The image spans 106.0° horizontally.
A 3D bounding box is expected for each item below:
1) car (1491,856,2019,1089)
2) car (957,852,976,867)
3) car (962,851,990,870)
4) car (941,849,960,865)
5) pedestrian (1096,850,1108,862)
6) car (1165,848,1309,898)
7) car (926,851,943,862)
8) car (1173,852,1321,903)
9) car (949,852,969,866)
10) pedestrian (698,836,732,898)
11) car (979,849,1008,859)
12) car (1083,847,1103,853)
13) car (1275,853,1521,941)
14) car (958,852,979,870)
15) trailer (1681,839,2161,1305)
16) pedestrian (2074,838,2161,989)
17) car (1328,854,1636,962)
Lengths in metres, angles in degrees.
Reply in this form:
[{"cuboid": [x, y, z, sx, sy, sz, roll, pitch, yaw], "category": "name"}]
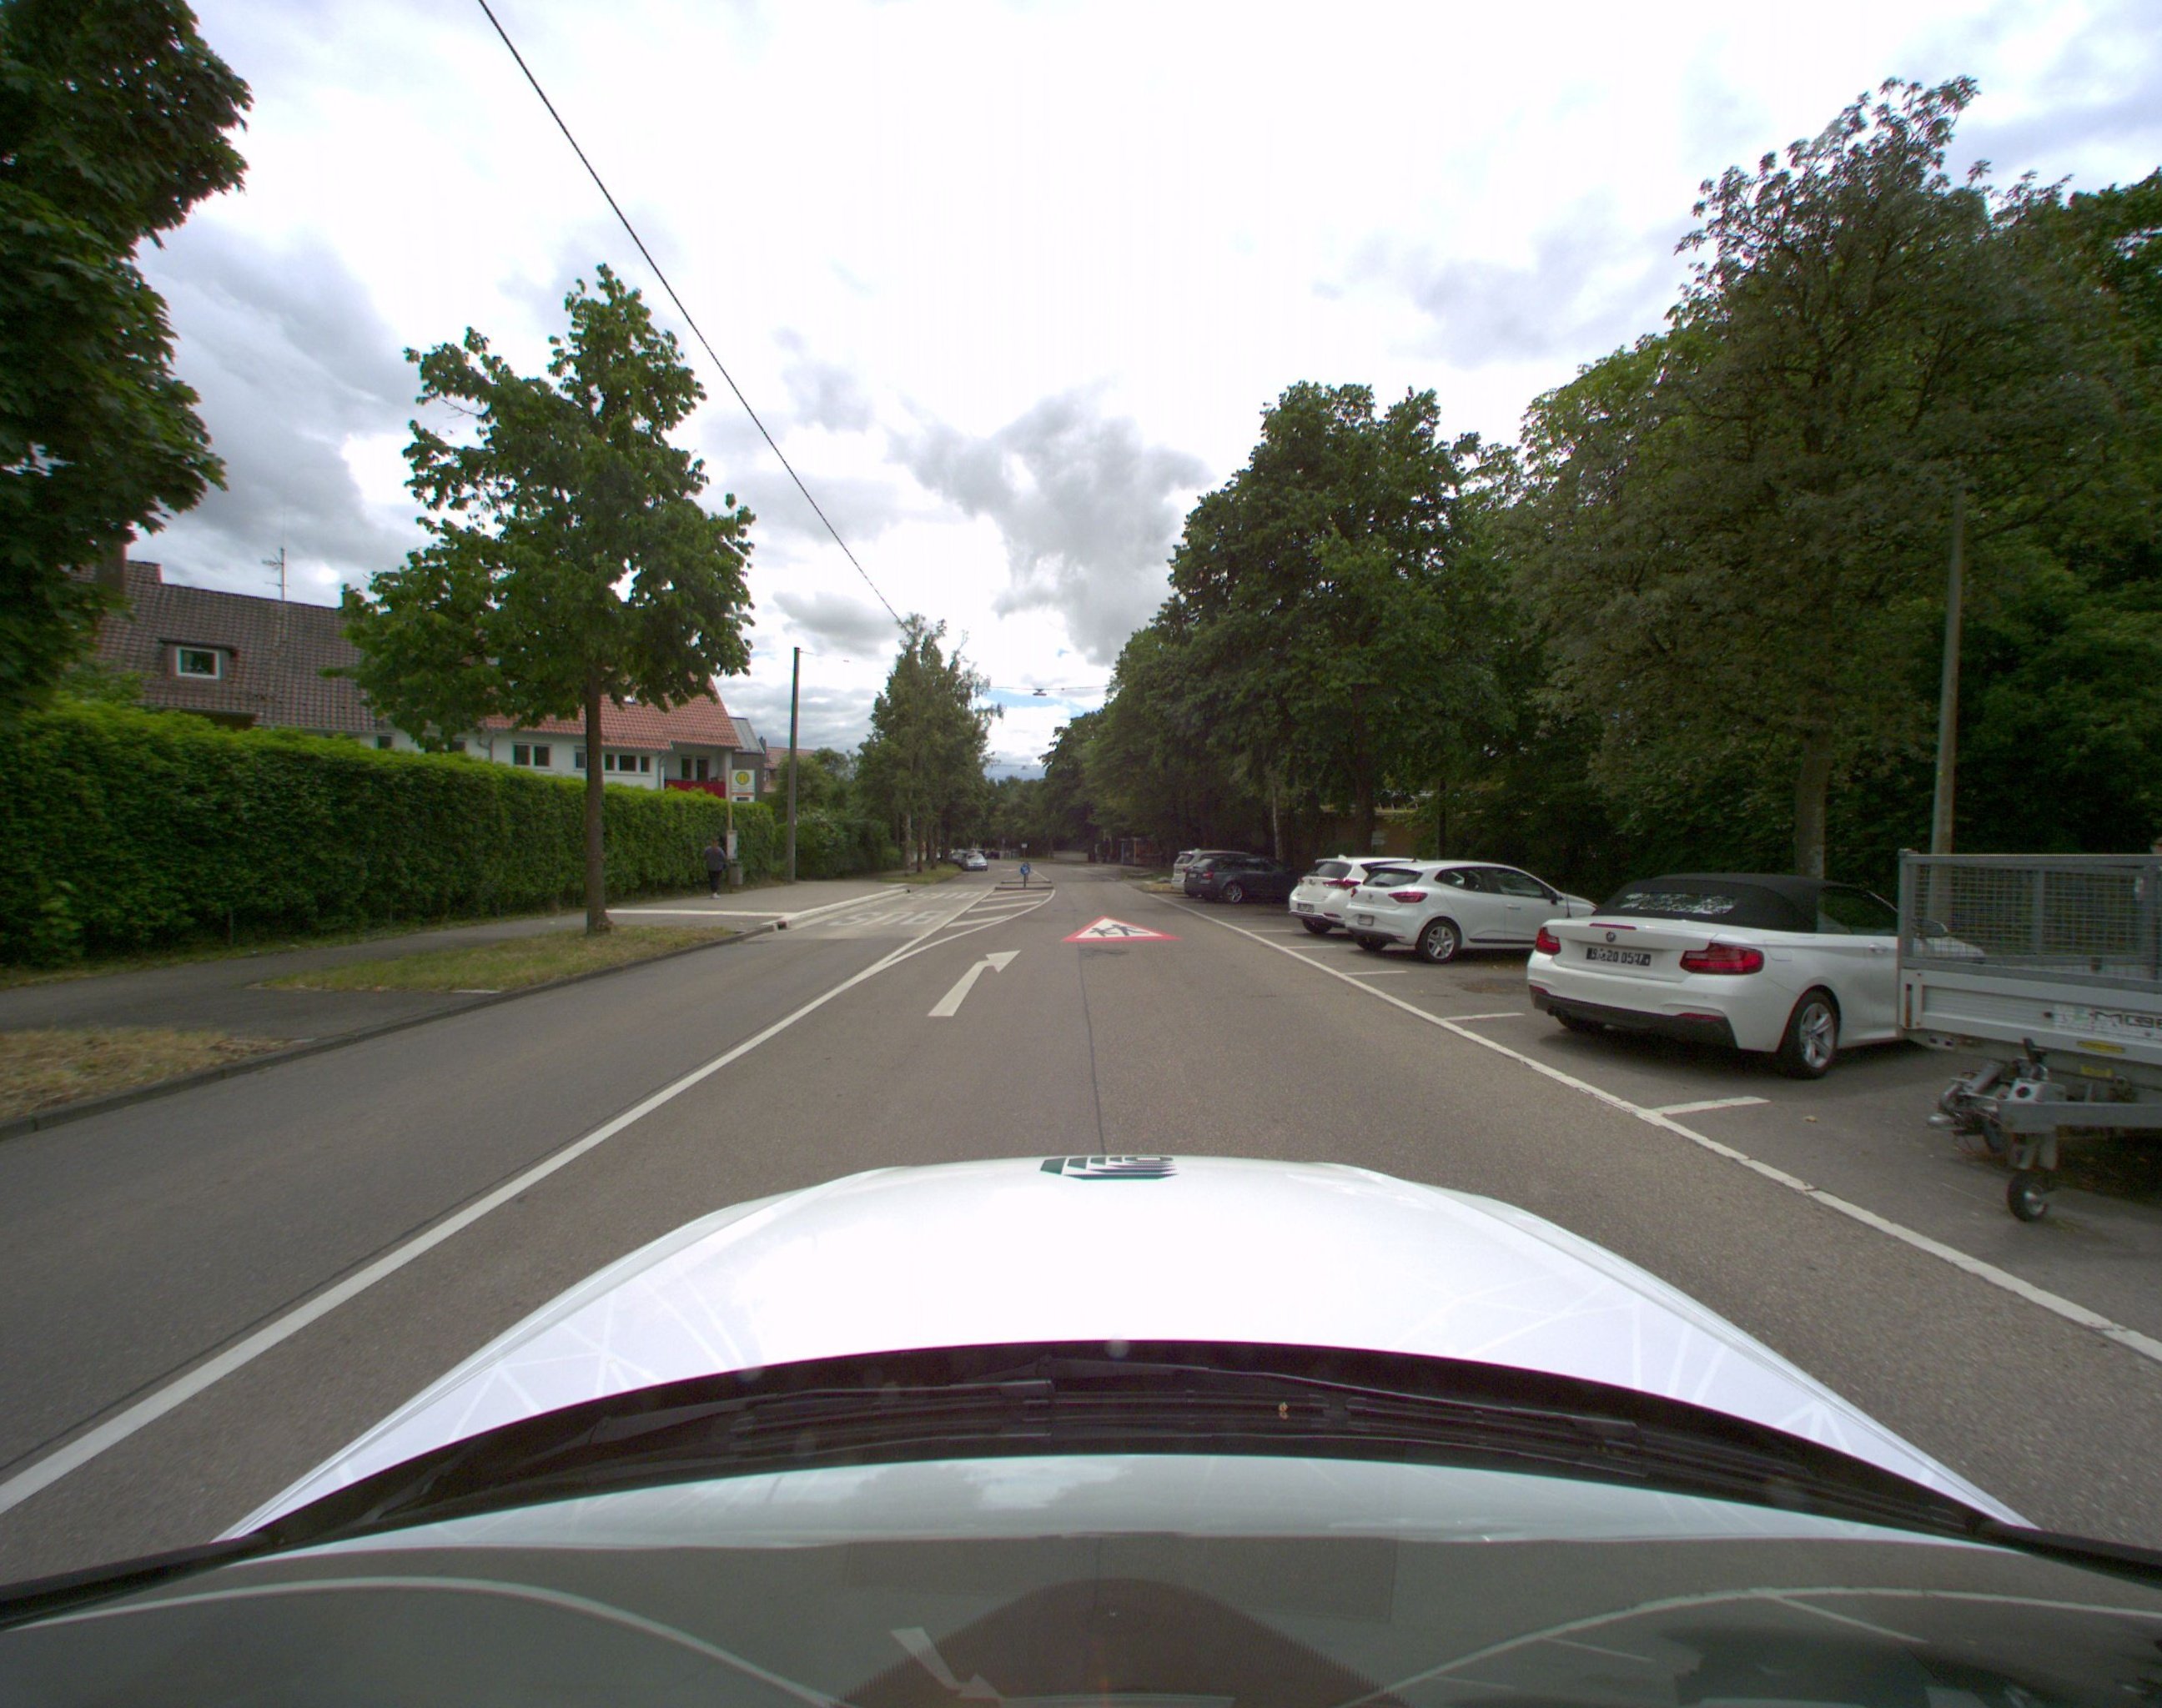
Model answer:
[{"cuboid": [5.663, 0.799, 6.847, 4.005, 1.464, 1.836, 1, 0, -24], "category": "car"}, {"cuboid": [-12.017, 0.556, 85.244, 1.736, 1.578, 4.125, -2, 0, -11], "category": "car"}, {"cuboid": [-8.760, 0.527, 67.673, 1.738, 1.416, 4.450, -2, 0, -14], "category": "car"}, {"cuboid": [-17.046, 0.383, 106.119, 1.862, 1.909, 5.055, -1, 0, -16], "category": "car"}, {"cuboid": [2.119, 0.233, 82.620, 1.065, 1.182, 0.577, -1, 0, -14], "category": "pedestrian"}, {"cuboid": [5.292, 0.634, 27.832, 4.470, 1.585, 1.899, 1, 0, -12], "category": "car"}, {"cuboid": [-21.915, 0.389, 121.844, 1.811, 1.563, 4.238, -4, 1, -20], "category": "car"}, {"cuboid": [5.100, 0.707, 25.121, 4.142, 1.464, 1.788, 1, 0, -17], "category": "car"}, {"cuboid": [-14.482, 0.558, 96.477, 1.869, 1.538, 4.207, -1, 0, -14], "category": "car"}, {"cuboid": [-10.409, 0.365, 23.169, 0.691, 1.710, 0.776, 0, 0, -8], "category": "pedestrian"}, {"cuboid": [-13.937, 0.042, 129.824, 4.021, 1.414, 2.033, 3, 0, -41], "category": "car"}, {"cuboid": [2.493, -0.847, 173.638, 3.996, 1.409, 1.790, -1, 0, -17], "category": "car"}, {"cuboid": [5.841, 0.753, 15.120, 3.998, 1.464, 1.855, 1, 0, -18], "category": "car"}, {"cuboid": [-10.164, 0.600, 73.695, 1.734, 1.538, 4.178, -2, 0, -8], "category": "car"}, {"cuboid": [5.282, 0.727, 4.077, 3.997, 1.552, 1.649, 0, 0, -17], "category": "trailer"}, {"cuboid": [11.975, 0.642, 9.180, 0.686, 1.644, 0.782, 0, 0, 20], "category": "pedestrian"}, {"cuboid": [6.019, 0.778, 12.381, 3.991, 1.464, 1.788, 1, 0, -13], "category": "car"}]
